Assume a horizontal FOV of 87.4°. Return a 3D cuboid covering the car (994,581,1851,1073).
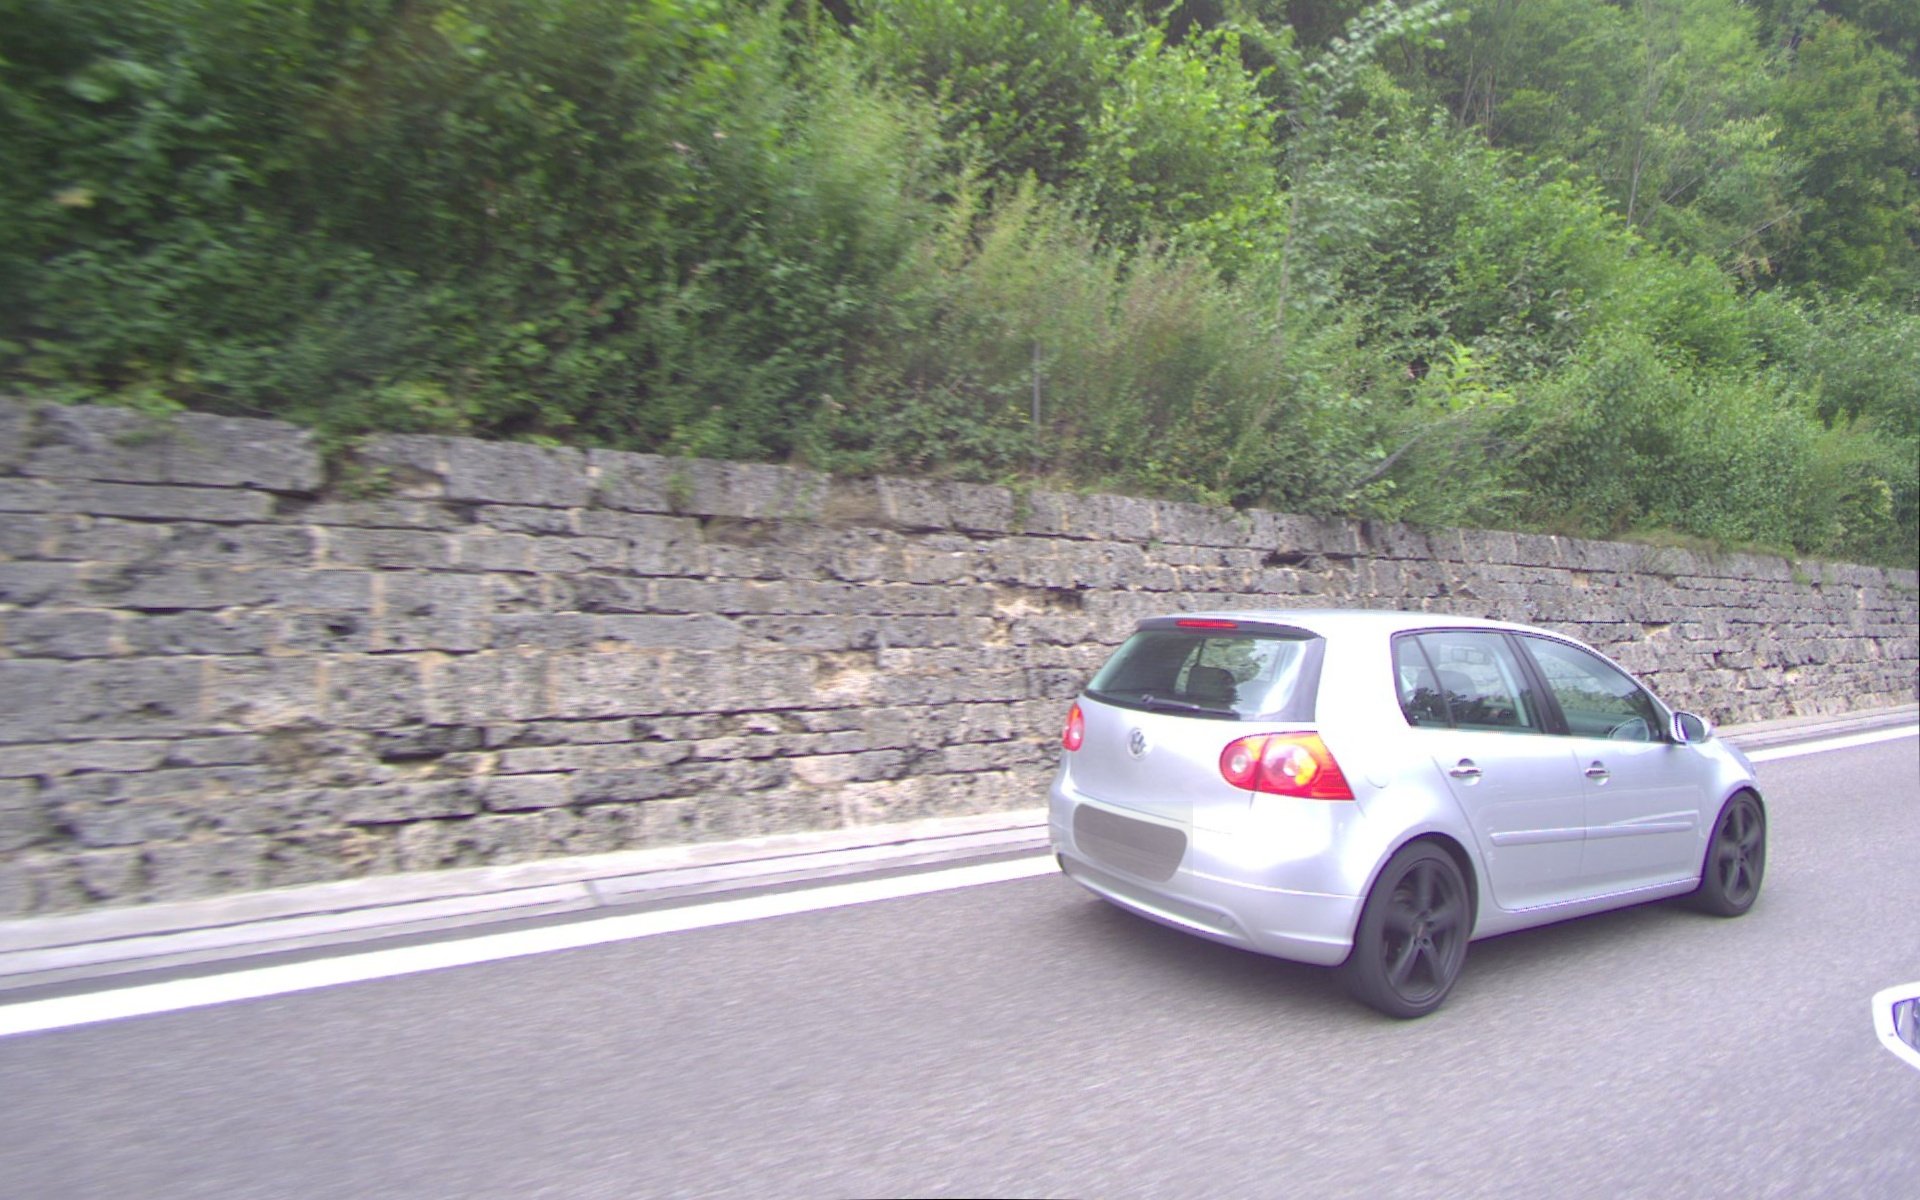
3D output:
[{"bbox_3d":[2.524,0.764,5.048,4.531,1.535,1.672,2,-1,-31],"label":"car"}]
